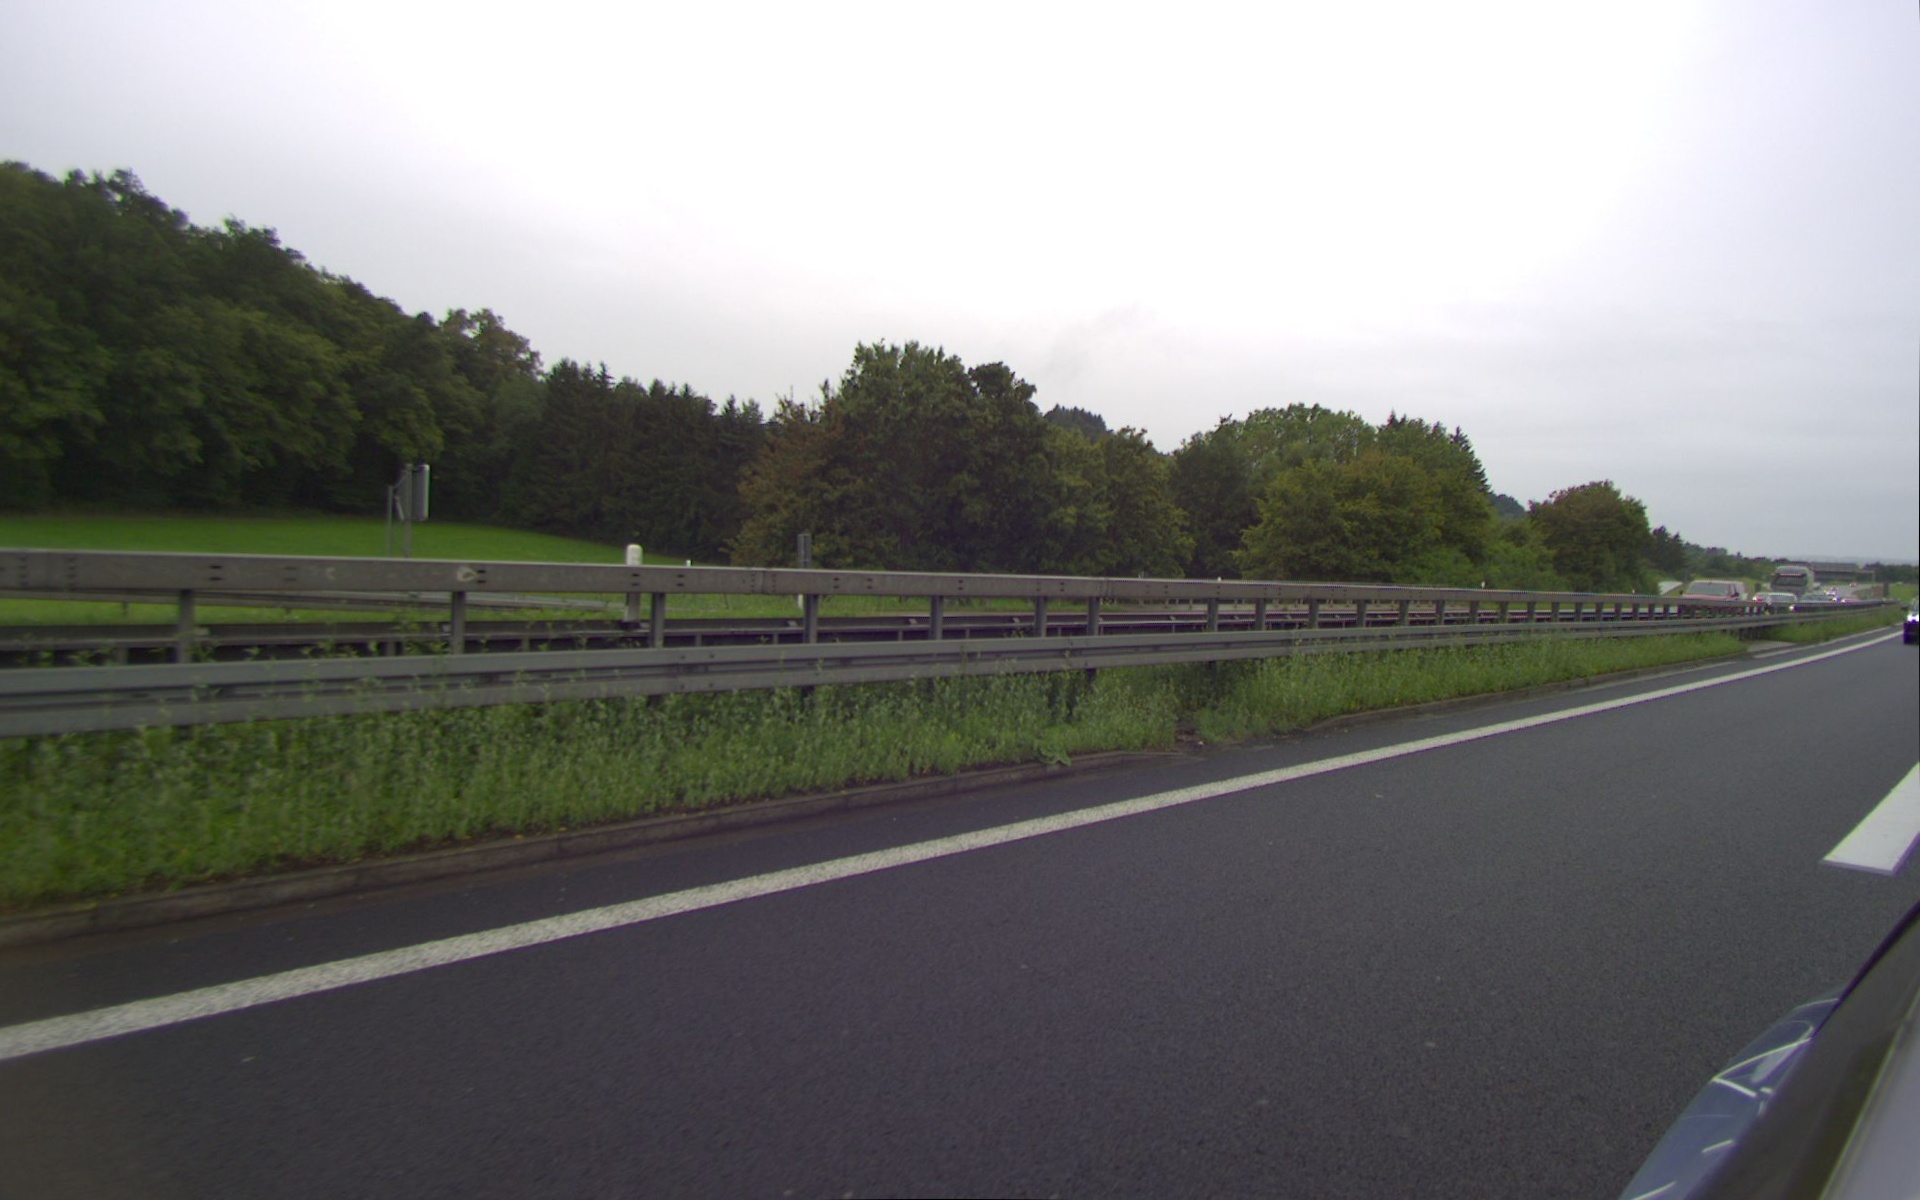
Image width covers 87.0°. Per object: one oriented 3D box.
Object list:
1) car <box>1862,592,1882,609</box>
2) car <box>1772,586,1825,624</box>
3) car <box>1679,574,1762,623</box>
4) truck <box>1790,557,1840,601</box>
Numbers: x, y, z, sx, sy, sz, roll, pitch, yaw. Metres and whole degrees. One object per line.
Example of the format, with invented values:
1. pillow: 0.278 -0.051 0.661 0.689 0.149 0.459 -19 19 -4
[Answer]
1. car: 116.285 0.040 129.029 1.746 2.038 4.431 2 2 42
2. car: 46.883 0.229 56.578 4.424 2.038 1.749 -1 2 -44
3. car: 34.237 -0.117 45.496 4.992 2.038 2.127 -1 2 -43
4. truck: 81.620 -2.021 96.538 2.793 3.949 9.866 2 2 45
